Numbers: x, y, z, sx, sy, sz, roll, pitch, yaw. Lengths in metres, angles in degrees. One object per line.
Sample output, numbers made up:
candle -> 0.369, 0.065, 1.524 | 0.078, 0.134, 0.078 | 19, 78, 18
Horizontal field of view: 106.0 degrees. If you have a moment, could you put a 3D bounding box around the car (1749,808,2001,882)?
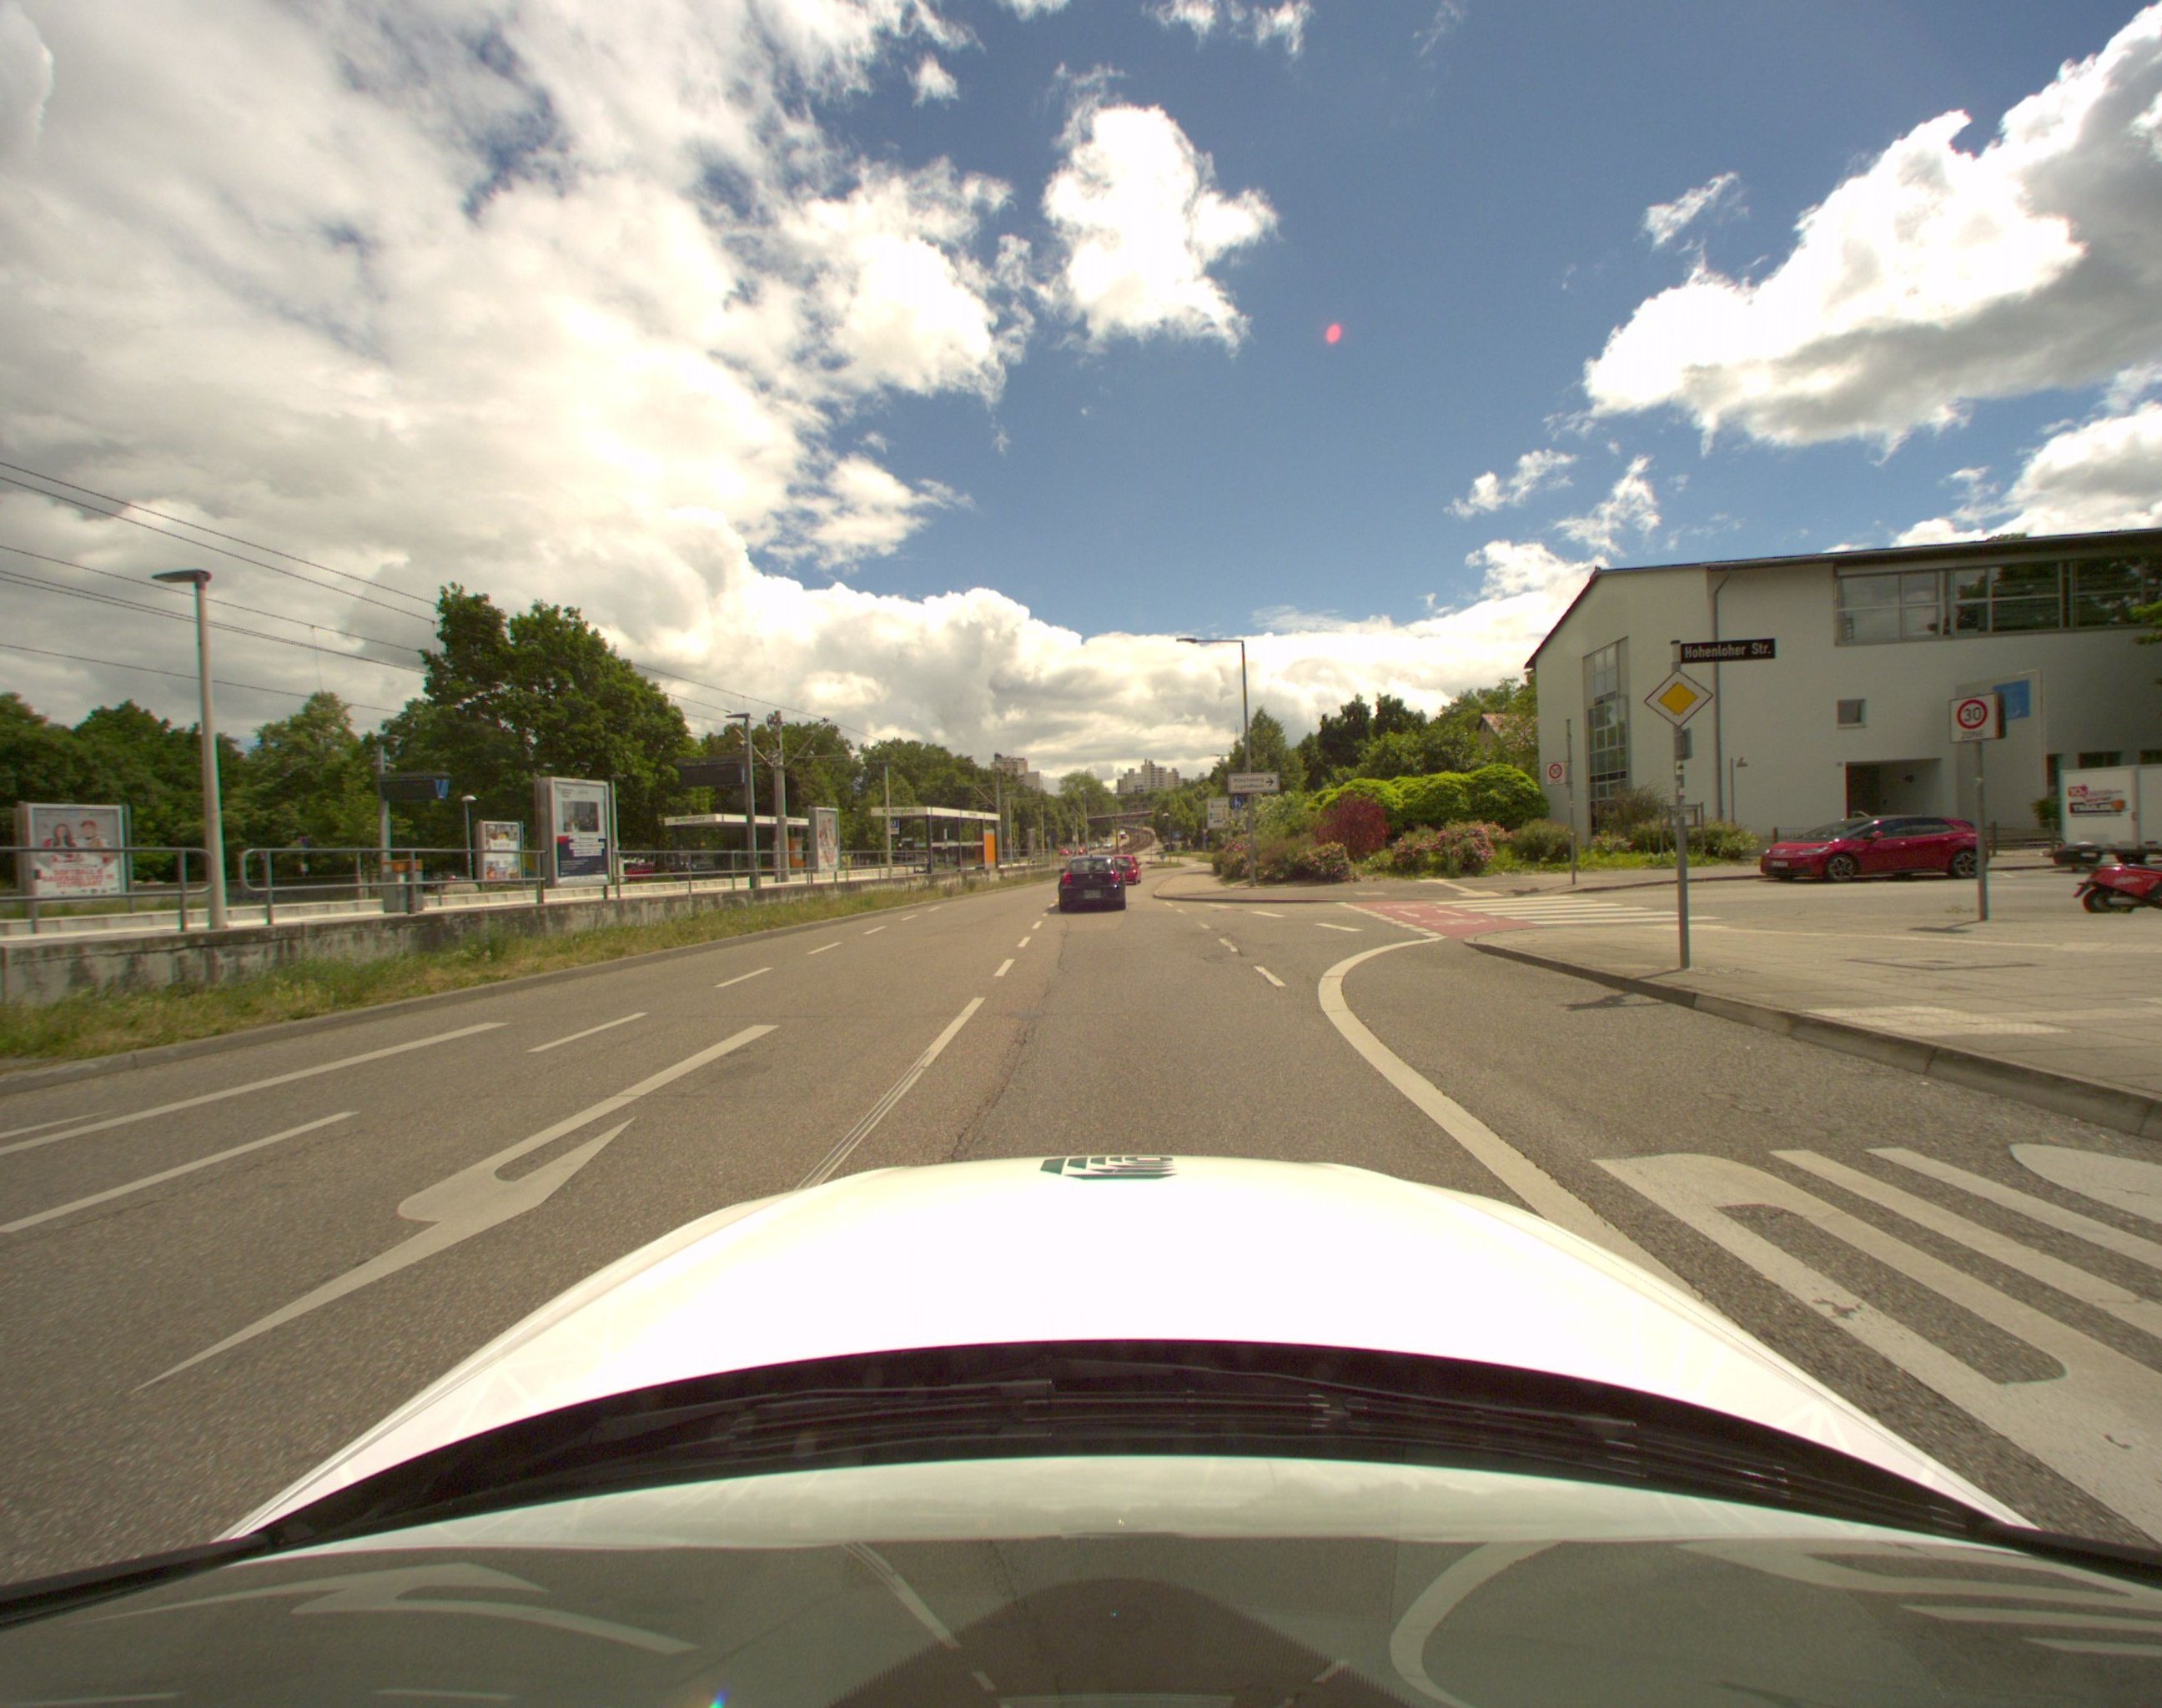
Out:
car -> 19.206, -0.251, 19.863 | 4.138, 1.561, 2.002 | -2, 2, 3

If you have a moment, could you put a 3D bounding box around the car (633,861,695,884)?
car -> -34.150, 1.468, 66.726 | 3.965, 1.684, 1.979 | -2, 1, 7

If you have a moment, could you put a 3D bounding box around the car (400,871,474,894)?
car -> -47.222, 2.097, 59.765 | 3.802, 1.491, 1.972 | -2, 1, 4

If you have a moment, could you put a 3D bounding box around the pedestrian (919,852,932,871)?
pedestrian -> -16.431, 0.797, 86.218 | 0.951, 2.013, 0.827 | -1, 1, 27

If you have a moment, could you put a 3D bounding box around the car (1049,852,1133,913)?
car -> 0.374, 0.715, 21.993 | 1.806, 1.421, 4.007 | -3, -1, 6

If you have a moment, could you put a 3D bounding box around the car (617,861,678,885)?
car -> -34.283, 1.520, 64.419 | 3.616, 1.705, 2.058 | -2, 1, 7

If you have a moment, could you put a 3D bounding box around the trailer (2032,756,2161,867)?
trailer -> 26.316, -1.056, 19.381 | 4.513, 2.486, 2.226 | -2, 1, 6

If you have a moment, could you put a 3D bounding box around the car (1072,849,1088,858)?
car -> -0.225, -0.065, 136.281 | 1.705, 1.503, 2.982 | -2, 1, 21

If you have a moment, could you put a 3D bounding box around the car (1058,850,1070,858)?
car -> -2.873, -0.003, 139.052 | 1.519, 1.370, 3.606 | -2, 1, 9

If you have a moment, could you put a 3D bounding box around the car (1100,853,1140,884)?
car -> 1.966, 0.687, 40.247 | 1.757, 1.432, 3.483 | -3, 0, 5
